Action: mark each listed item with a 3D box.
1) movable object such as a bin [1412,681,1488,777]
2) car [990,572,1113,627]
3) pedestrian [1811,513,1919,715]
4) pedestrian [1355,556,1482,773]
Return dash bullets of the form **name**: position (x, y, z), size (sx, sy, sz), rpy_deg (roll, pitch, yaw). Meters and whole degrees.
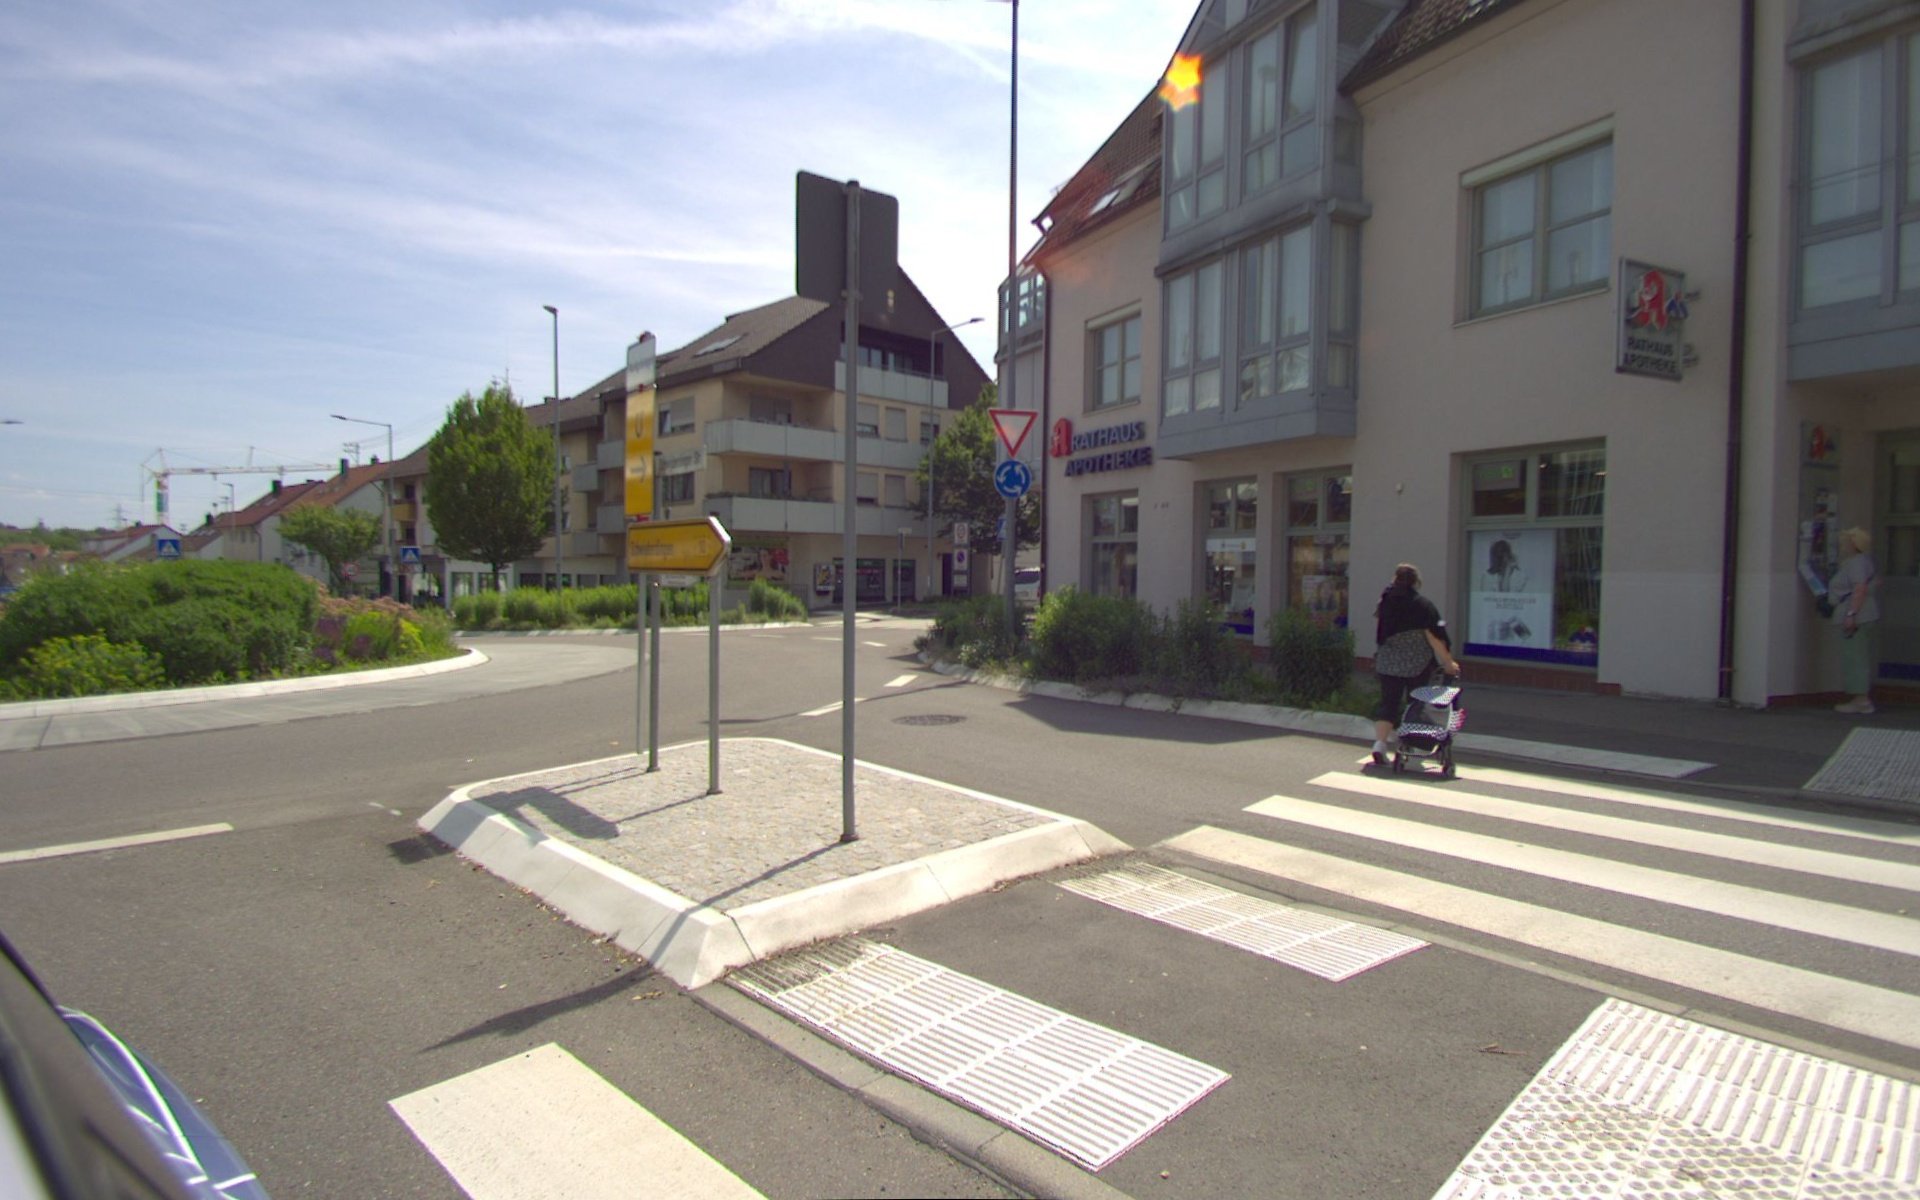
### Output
- **movable object such as a bin**: position (3.422, 0.889, 7.069), size (0.457, 0.586, 0.464), rpy_deg (-1, 1, 27)
- **car**: position (3.039, -0.048, 32.869), size (1.973, 1.640, 4.167), rpy_deg (-1, 1, 39)
- **pedestrian**: position (8.091, 0.109, 9.002), size (0.567, 1.722, 0.581), rpy_deg (-2, 1, -22)
- **pedestrian**: position (3.419, 0.436, 7.539), size (0.798, 1.489, 0.949), rpy_deg (-1, 1, 27)
